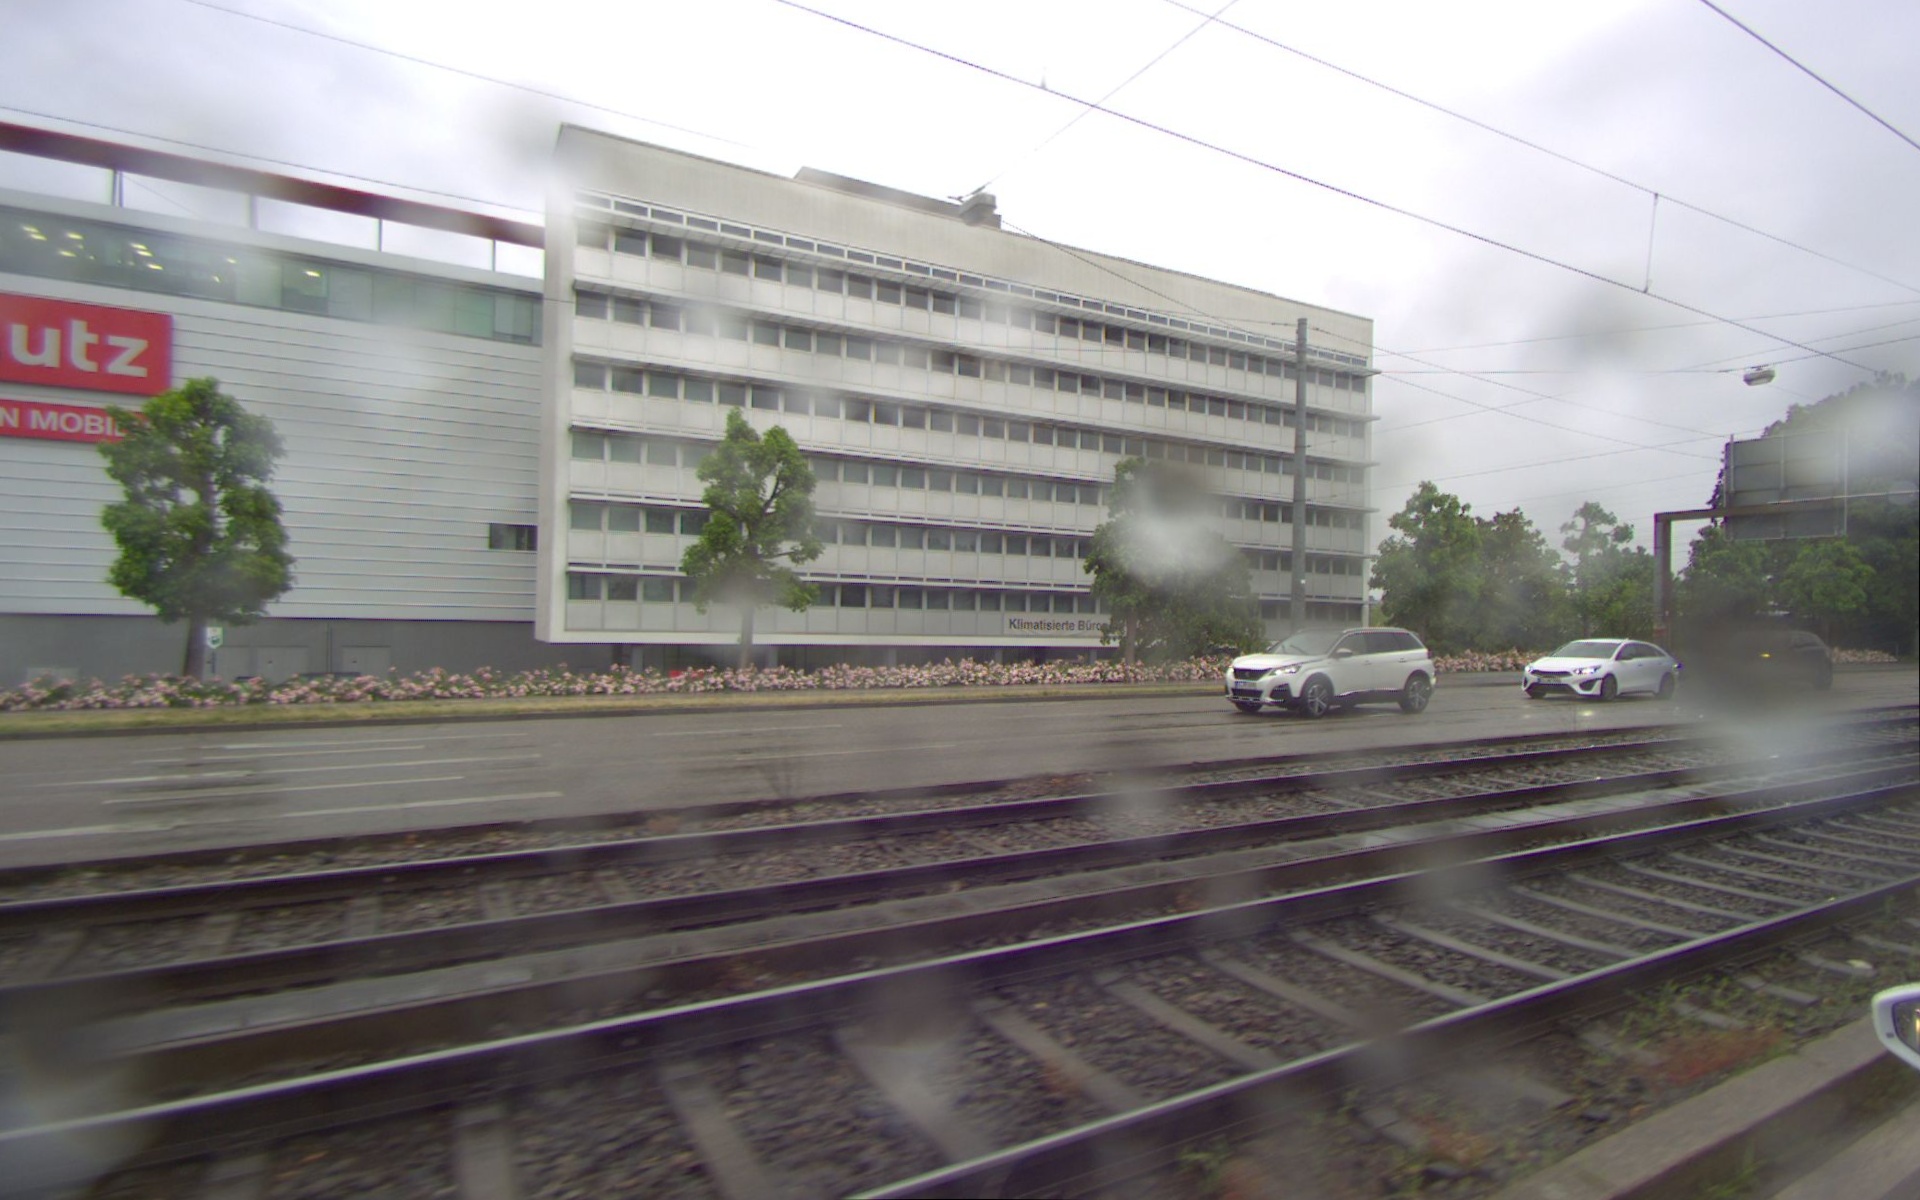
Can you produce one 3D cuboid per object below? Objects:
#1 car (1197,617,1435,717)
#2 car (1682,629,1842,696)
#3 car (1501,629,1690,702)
[{"bbox_3d":[6.838,1.207,19.141,4.635,1.705,1.762,1,-1,-31],"label":"car"},{"bbox_3d":[22.824,1.704,28.551,4.824,1.744,1.984,1,-2,-30],"label":"car"},{"bbox_3d":[15.438,1.520,24.344,4.711,1.604,1.984,1,-2,-31],"label":"car"}]
